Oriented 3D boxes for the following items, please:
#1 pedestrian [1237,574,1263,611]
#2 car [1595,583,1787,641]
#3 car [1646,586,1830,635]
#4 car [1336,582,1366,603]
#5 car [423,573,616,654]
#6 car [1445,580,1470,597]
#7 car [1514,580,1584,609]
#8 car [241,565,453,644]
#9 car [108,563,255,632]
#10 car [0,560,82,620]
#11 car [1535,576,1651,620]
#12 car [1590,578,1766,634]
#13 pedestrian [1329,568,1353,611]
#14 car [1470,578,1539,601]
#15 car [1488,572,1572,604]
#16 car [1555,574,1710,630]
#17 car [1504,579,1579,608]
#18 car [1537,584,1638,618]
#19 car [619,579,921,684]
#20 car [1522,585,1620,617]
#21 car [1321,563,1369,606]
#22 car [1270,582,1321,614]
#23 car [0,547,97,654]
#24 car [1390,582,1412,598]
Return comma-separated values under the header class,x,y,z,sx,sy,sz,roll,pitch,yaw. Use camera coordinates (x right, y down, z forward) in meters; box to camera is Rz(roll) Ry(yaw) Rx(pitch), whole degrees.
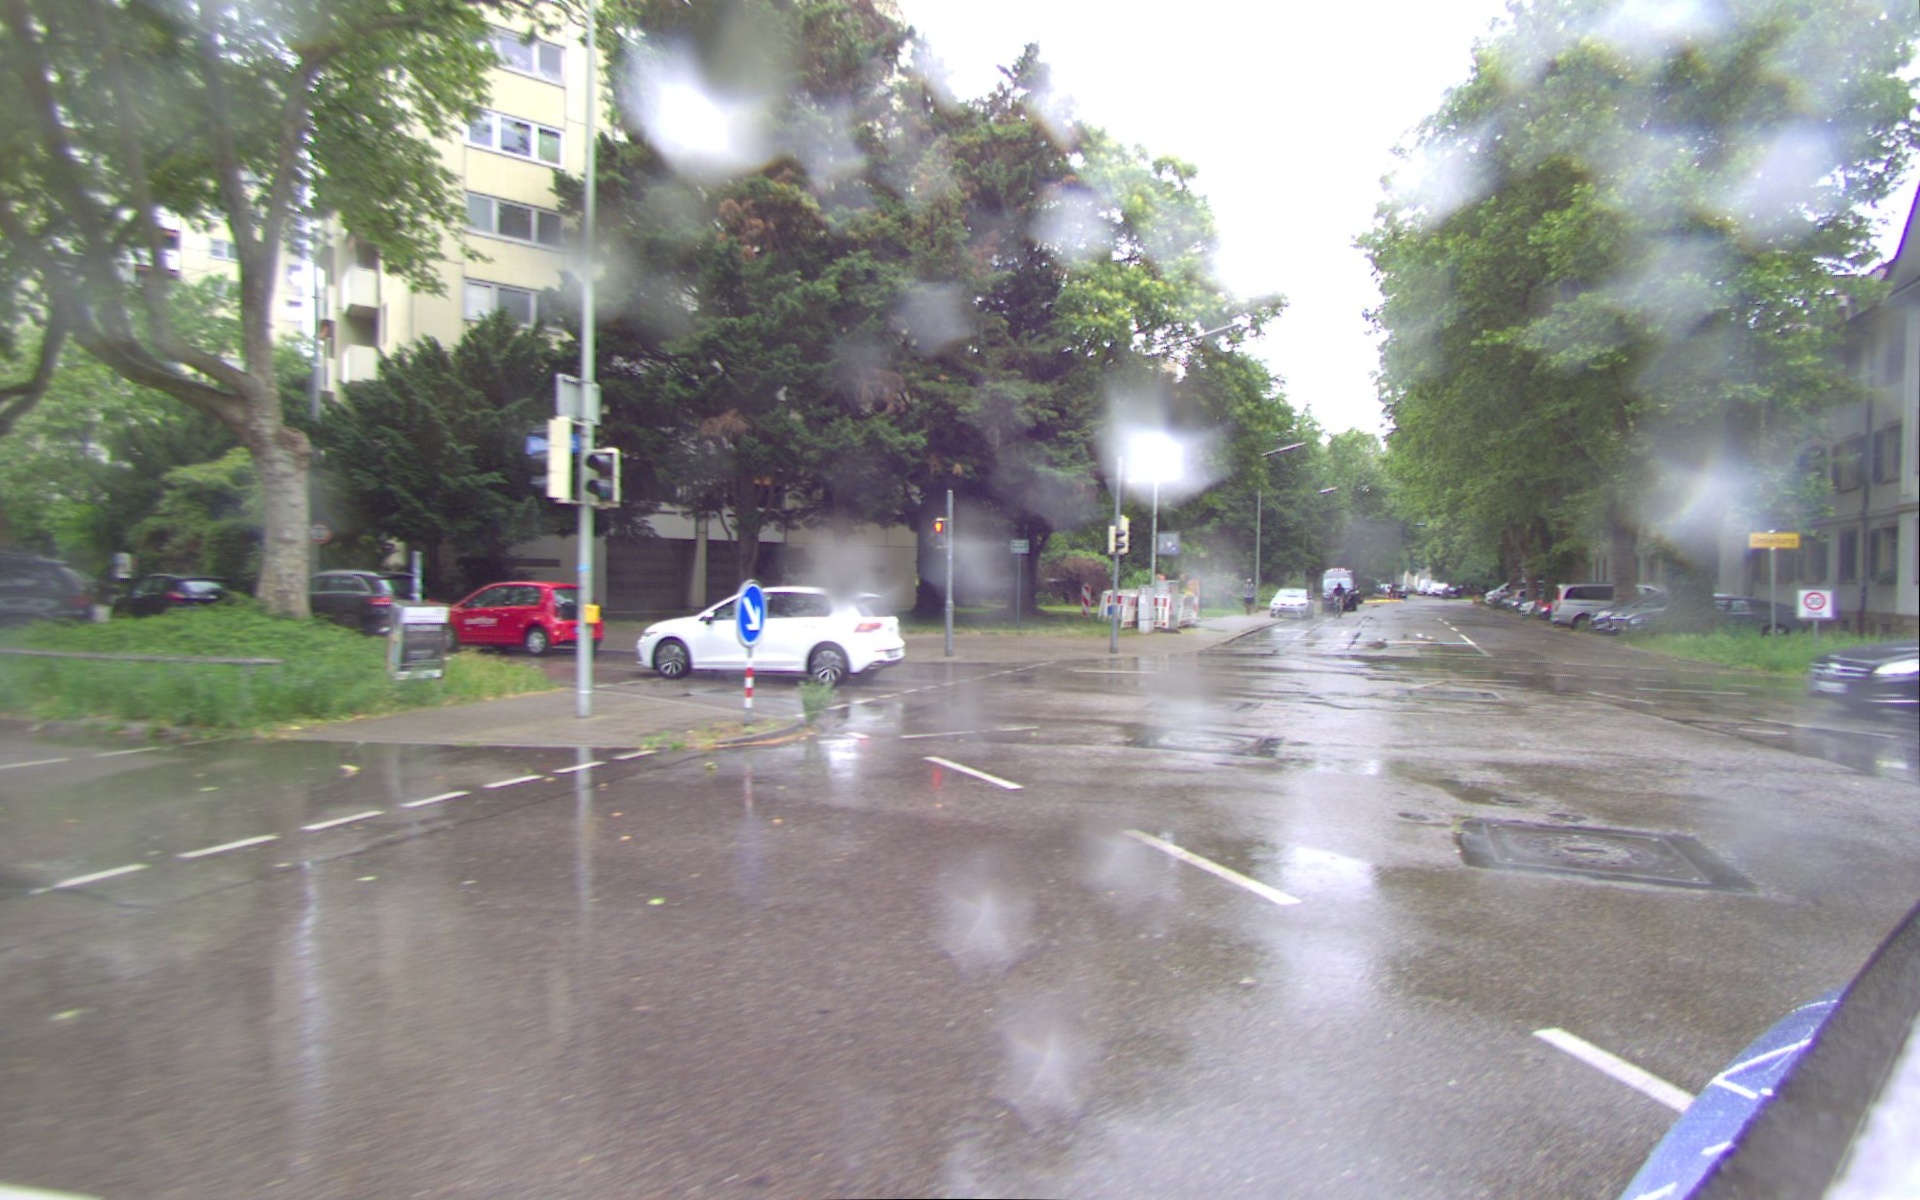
class,x,y,z,sx,sy,sz,roll,pitch,yaw
pedestrian,13.646,-0.348,47.587,0.935,1.681,0.919,2,1,28
car,23.684,0.345,33.019,4.687,1.642,1.916,2,1,23
car,23.102,0.280,30.232,3.952,1.371,1.785,1,1,21
car,30.301,-0.640,78.326,1.978,1.558,3.969,1,1,23
car,-9.167,0.228,21.118,3.418,1.544,1.830,1,1,21
car,55.214,-1.323,112.393,1.975,1.828,3.975,1,1,19
car,37.636,-0.383,64.766,3.684,1.711,1.921,2,1,25
car,-13.848,0.043,22.865,4.405,1.628,1.925,1,1,23
car,-19.436,-0.104,25.238,3.459,1.616,1.820,1,1,32
car,-28.043,-0.324,29.904,3.962,1.653,1.914,1,1,28
car,30.671,-0.131,49.203,4.393,1.923,2.018,2,1,23
car,24.814,0.176,35.230,4.624,1.711,2.016,2,1,25
pedestrian,18.990,-0.522,50.385,0.935,2.088,1.070,2,1,28
car,43.458,-0.853,80.905,4.624,1.624,2.016,2,2,25
car,41.091,-0.888,73.132,5.038,2.049,2.016,2,1,25
car,25.802,0.038,39.031,4.624,1.897,2.016,2,1,25
car,38.440,-0.447,67.012,4.069,1.711,1.812,2,1,25
car,33.809,0.028,54.648,4.366,1.604,1.911,2,1,25
car,-2.942,0.424,15.902,4.335,1.451,1.775,1,1,15
car,34.375,0.009,57.089,4.483,1.590,2.016,2,2,25
car,23.957,-0.965,62.862,2.378,2.506,5.644,2,2,25
car,16.264,-0.127,48.944,1.804,1.478,4.235,1,1,26
car,-16.510,-0.008,15.826,4.526,1.685,1.871,0,1,-43
car,49.714,-1.138,114.227,1.975,1.828,4.321,1,1,20
